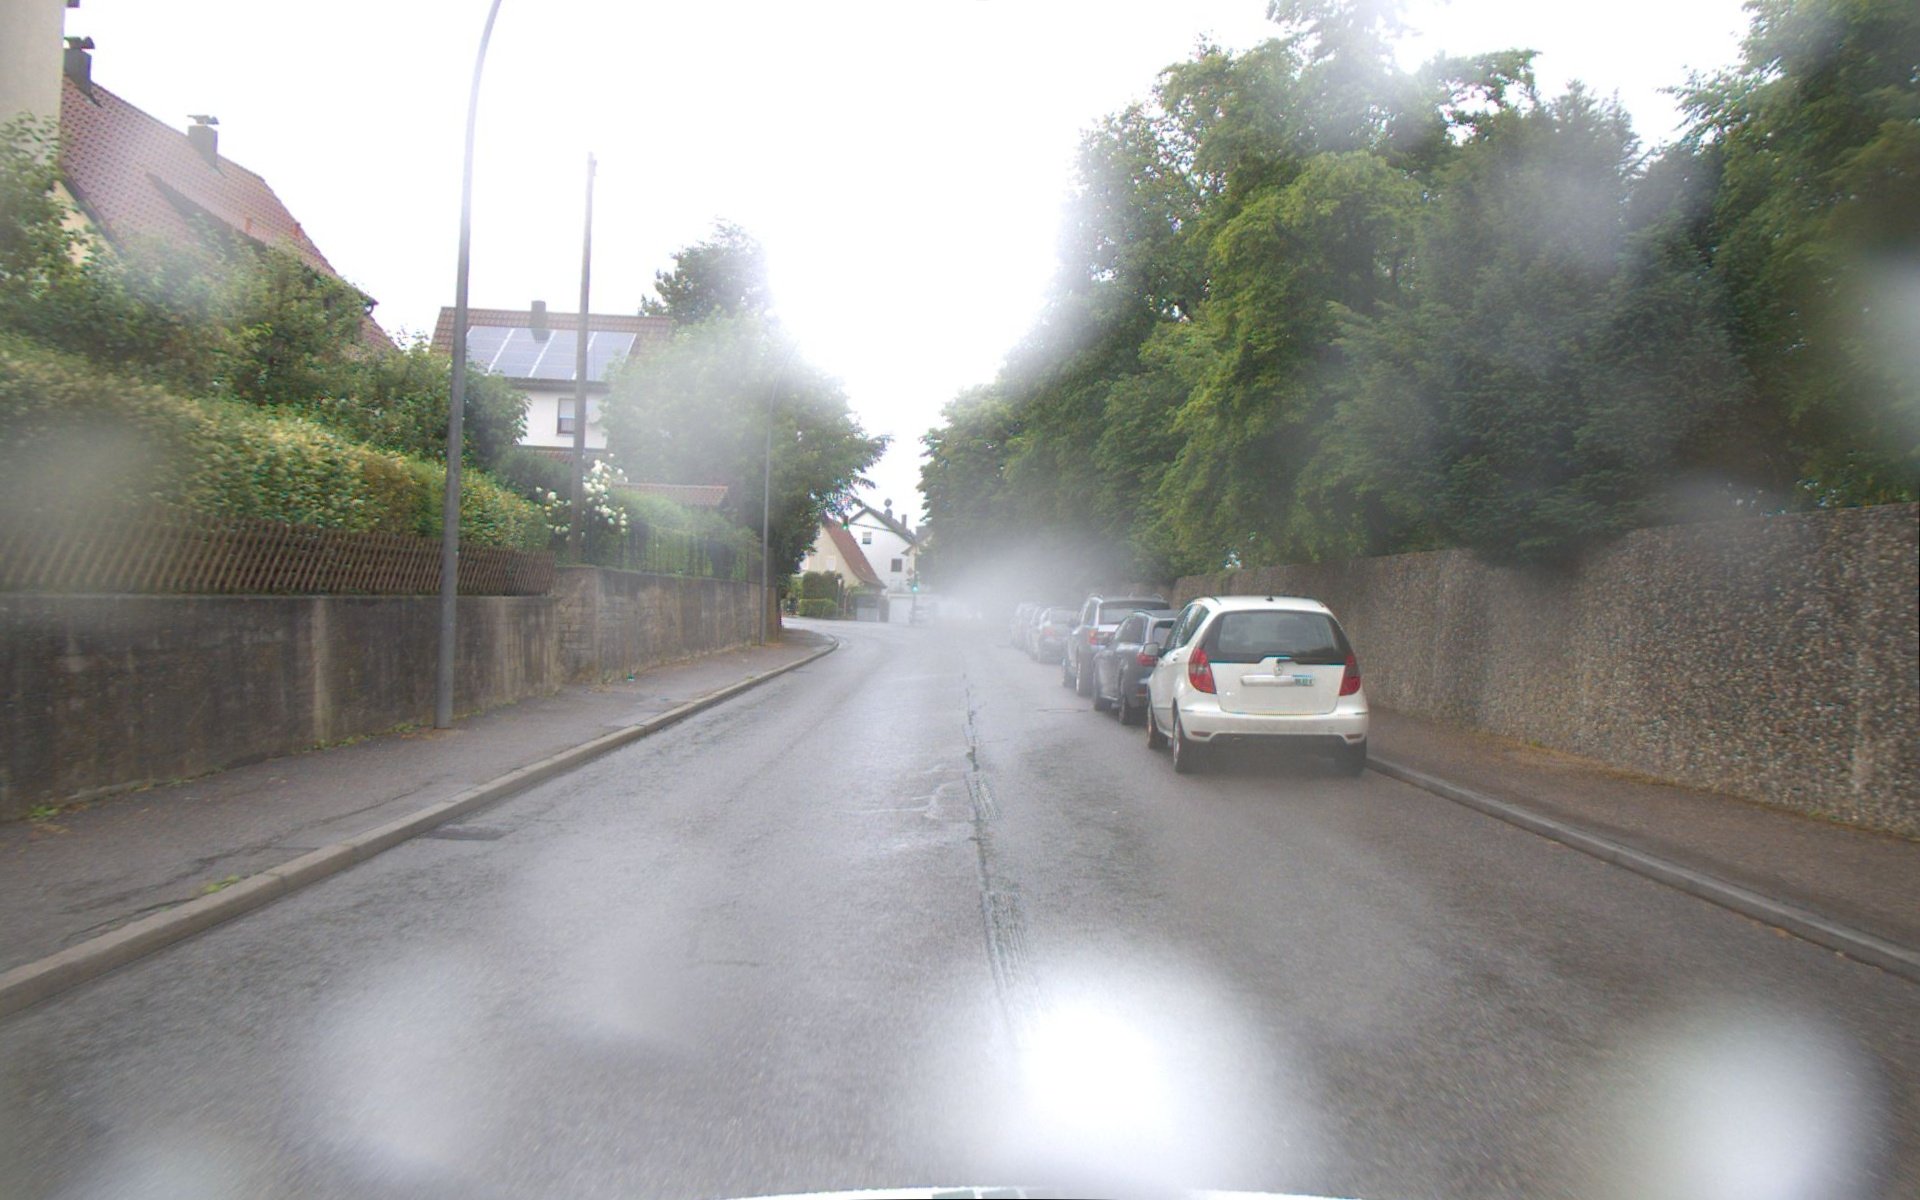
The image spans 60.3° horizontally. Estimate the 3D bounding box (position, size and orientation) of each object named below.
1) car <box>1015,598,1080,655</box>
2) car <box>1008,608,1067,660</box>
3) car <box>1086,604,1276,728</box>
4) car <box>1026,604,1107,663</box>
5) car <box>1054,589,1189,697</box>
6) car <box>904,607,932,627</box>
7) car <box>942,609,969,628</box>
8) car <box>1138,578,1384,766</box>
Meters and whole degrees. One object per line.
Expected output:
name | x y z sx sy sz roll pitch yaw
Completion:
car | 2.500 0.779 47.882 1.614 1.523 3.708 2 -1 0
car | 2.445 1.098 52.894 1.614 1.523 4.245 2 -1 0
car | 2.874 0.838 22.474 1.729 1.472 4.693 1 -1 -3
car | 2.683 0.834 42.457 1.618 1.395 4.179 1 0 -2
car | 2.722 0.721 28.743 1.707 1.697 4.495 1 -1 -2
car | -3.378 1.356 133.097 1.867 1.467 4.001 1 0 3
car | -0.338 1.446 132.681 1.867 1.467 4.001 1 0 3
car | 2.839 0.654 16.394 1.777 1.601 3.880 1 -1 1
